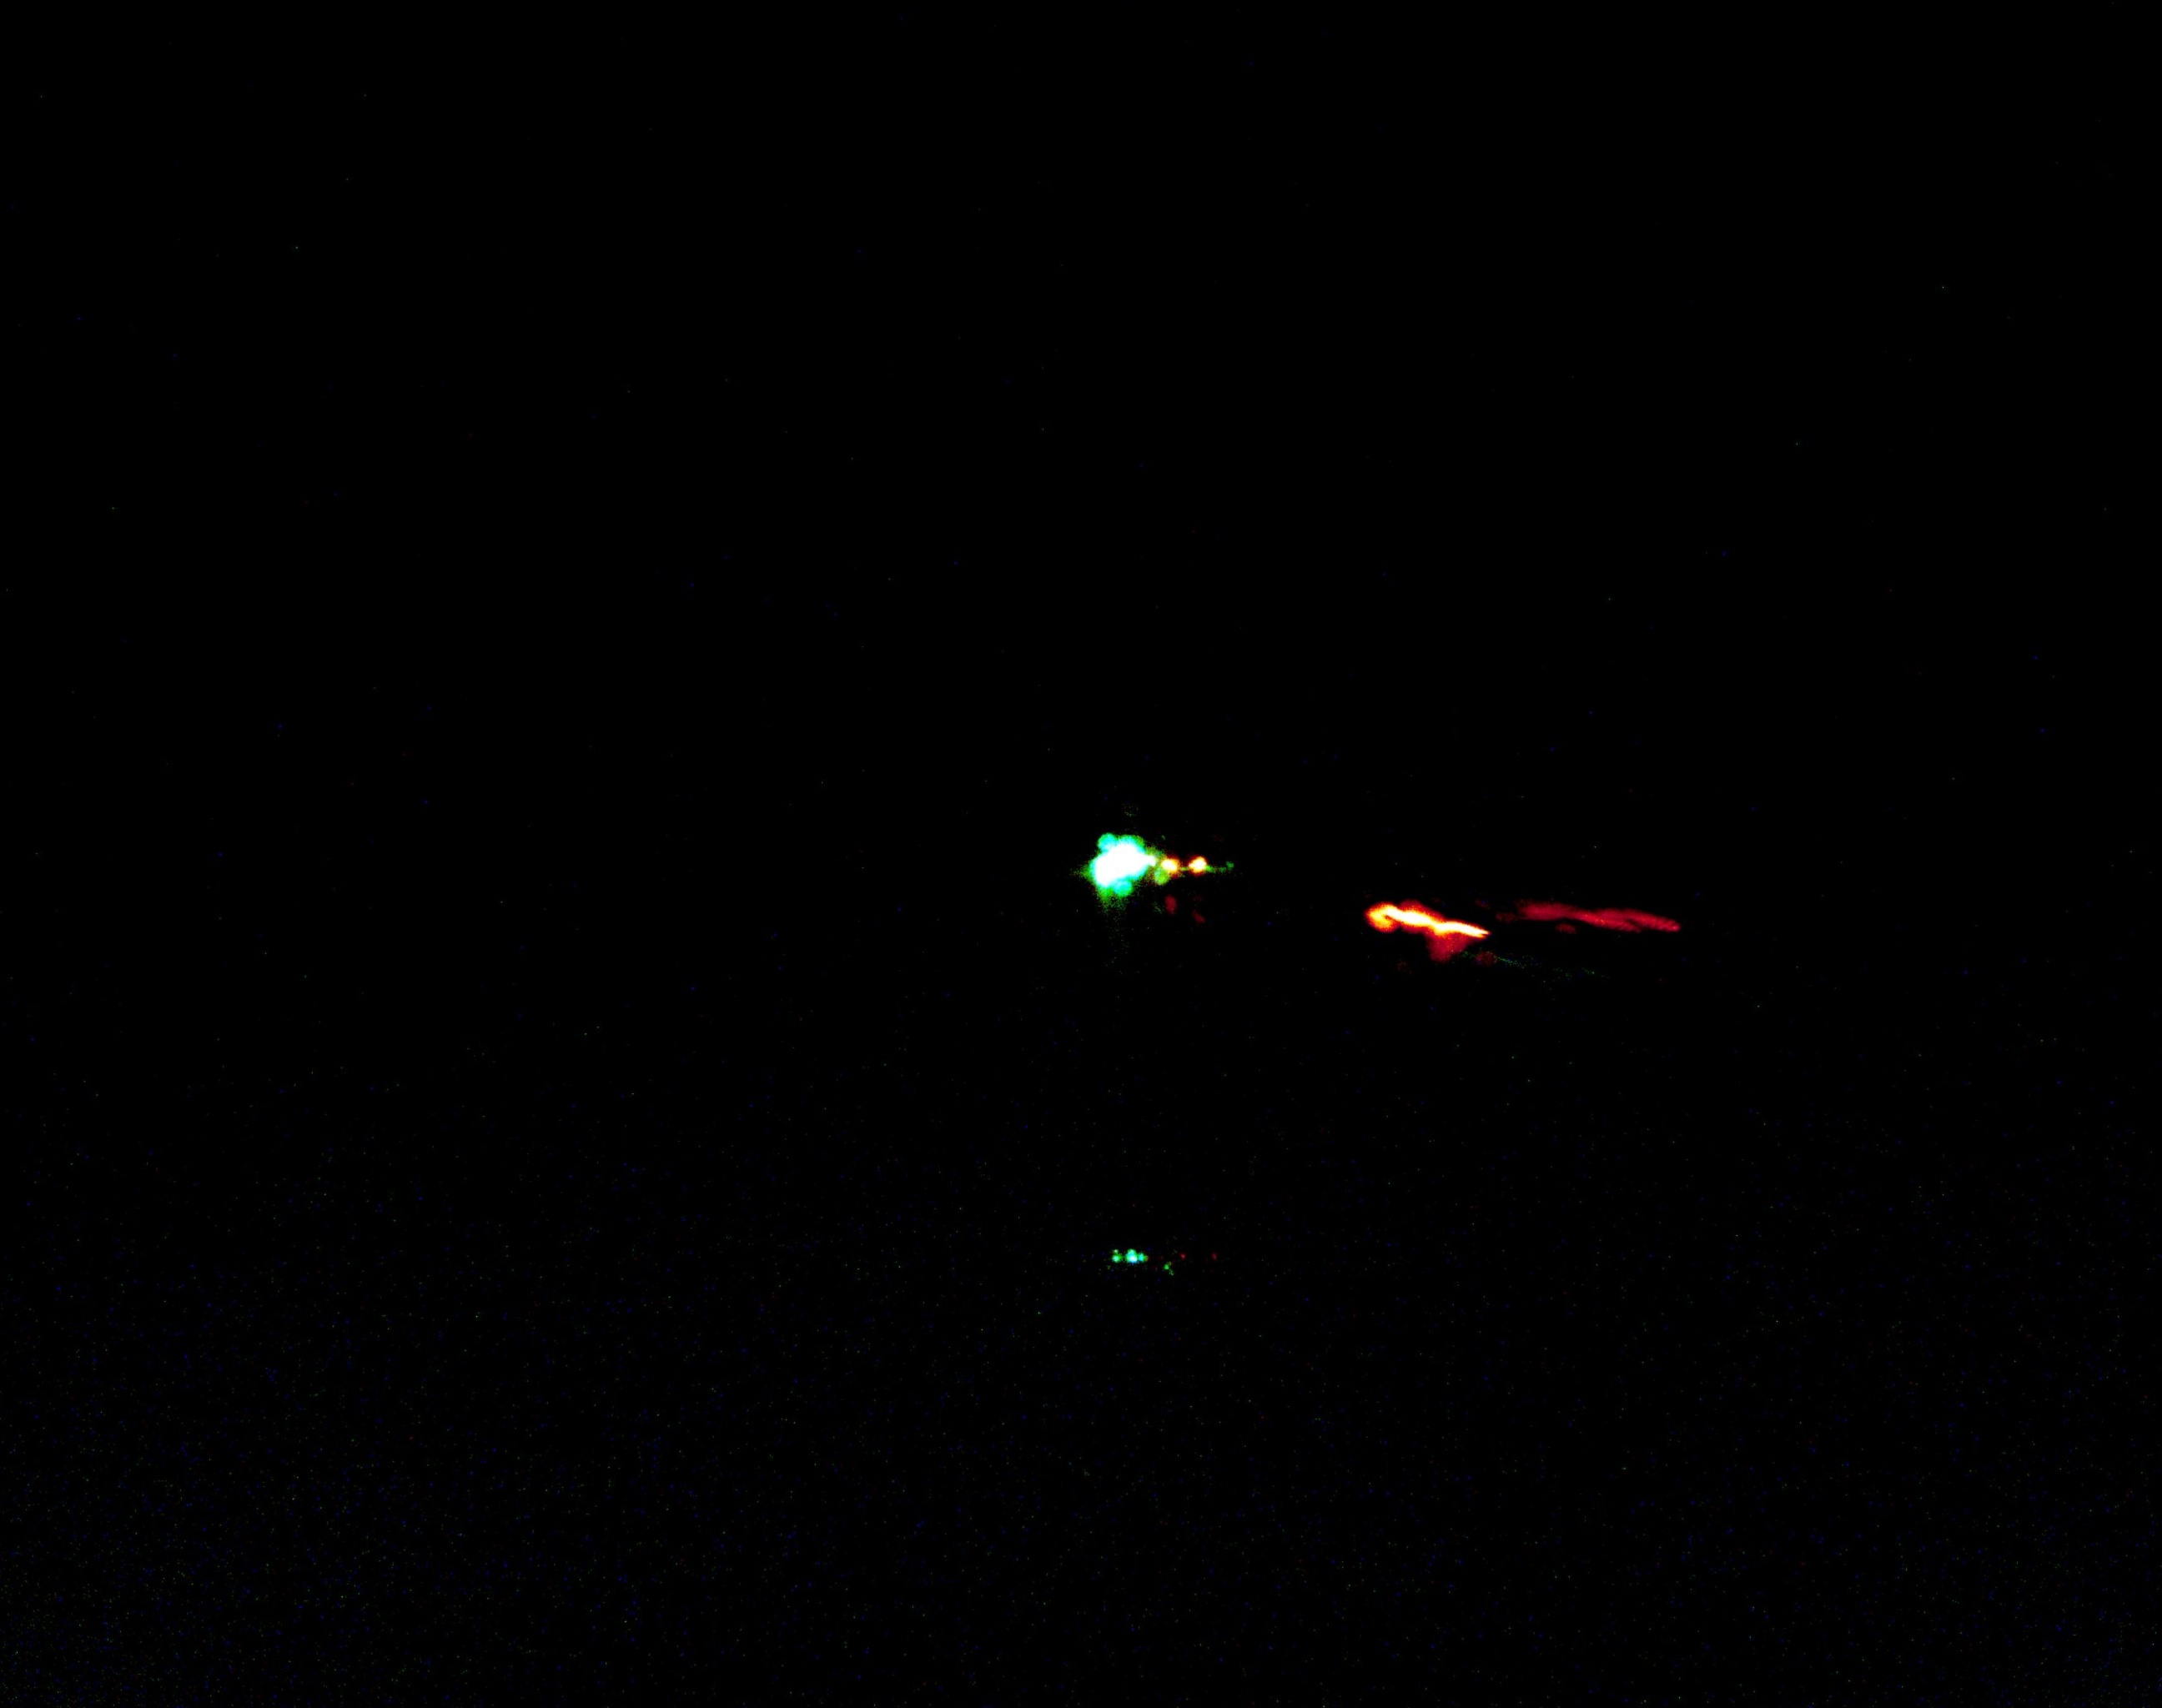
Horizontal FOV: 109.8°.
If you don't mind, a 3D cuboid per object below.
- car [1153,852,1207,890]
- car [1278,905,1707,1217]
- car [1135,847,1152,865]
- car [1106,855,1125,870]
[{"bbox_3d":[4.443,0.761,34.682,1.930,1.565,4.348,-2,0,2],"label":"car"},{"bbox_3d":[3.596,1.667,7.653,1.999,2.002,3.999,-2,0,-2],"label":"car"},{"bbox_3d":[8.175,0.257,100.139,1.998,2.259,5.468,-2,0,3],"label":"car"},{"bbox_3d":[3.910,0.921,85.045,1.877,1.578,4.891,-2,0,6],"label":"car"}]
